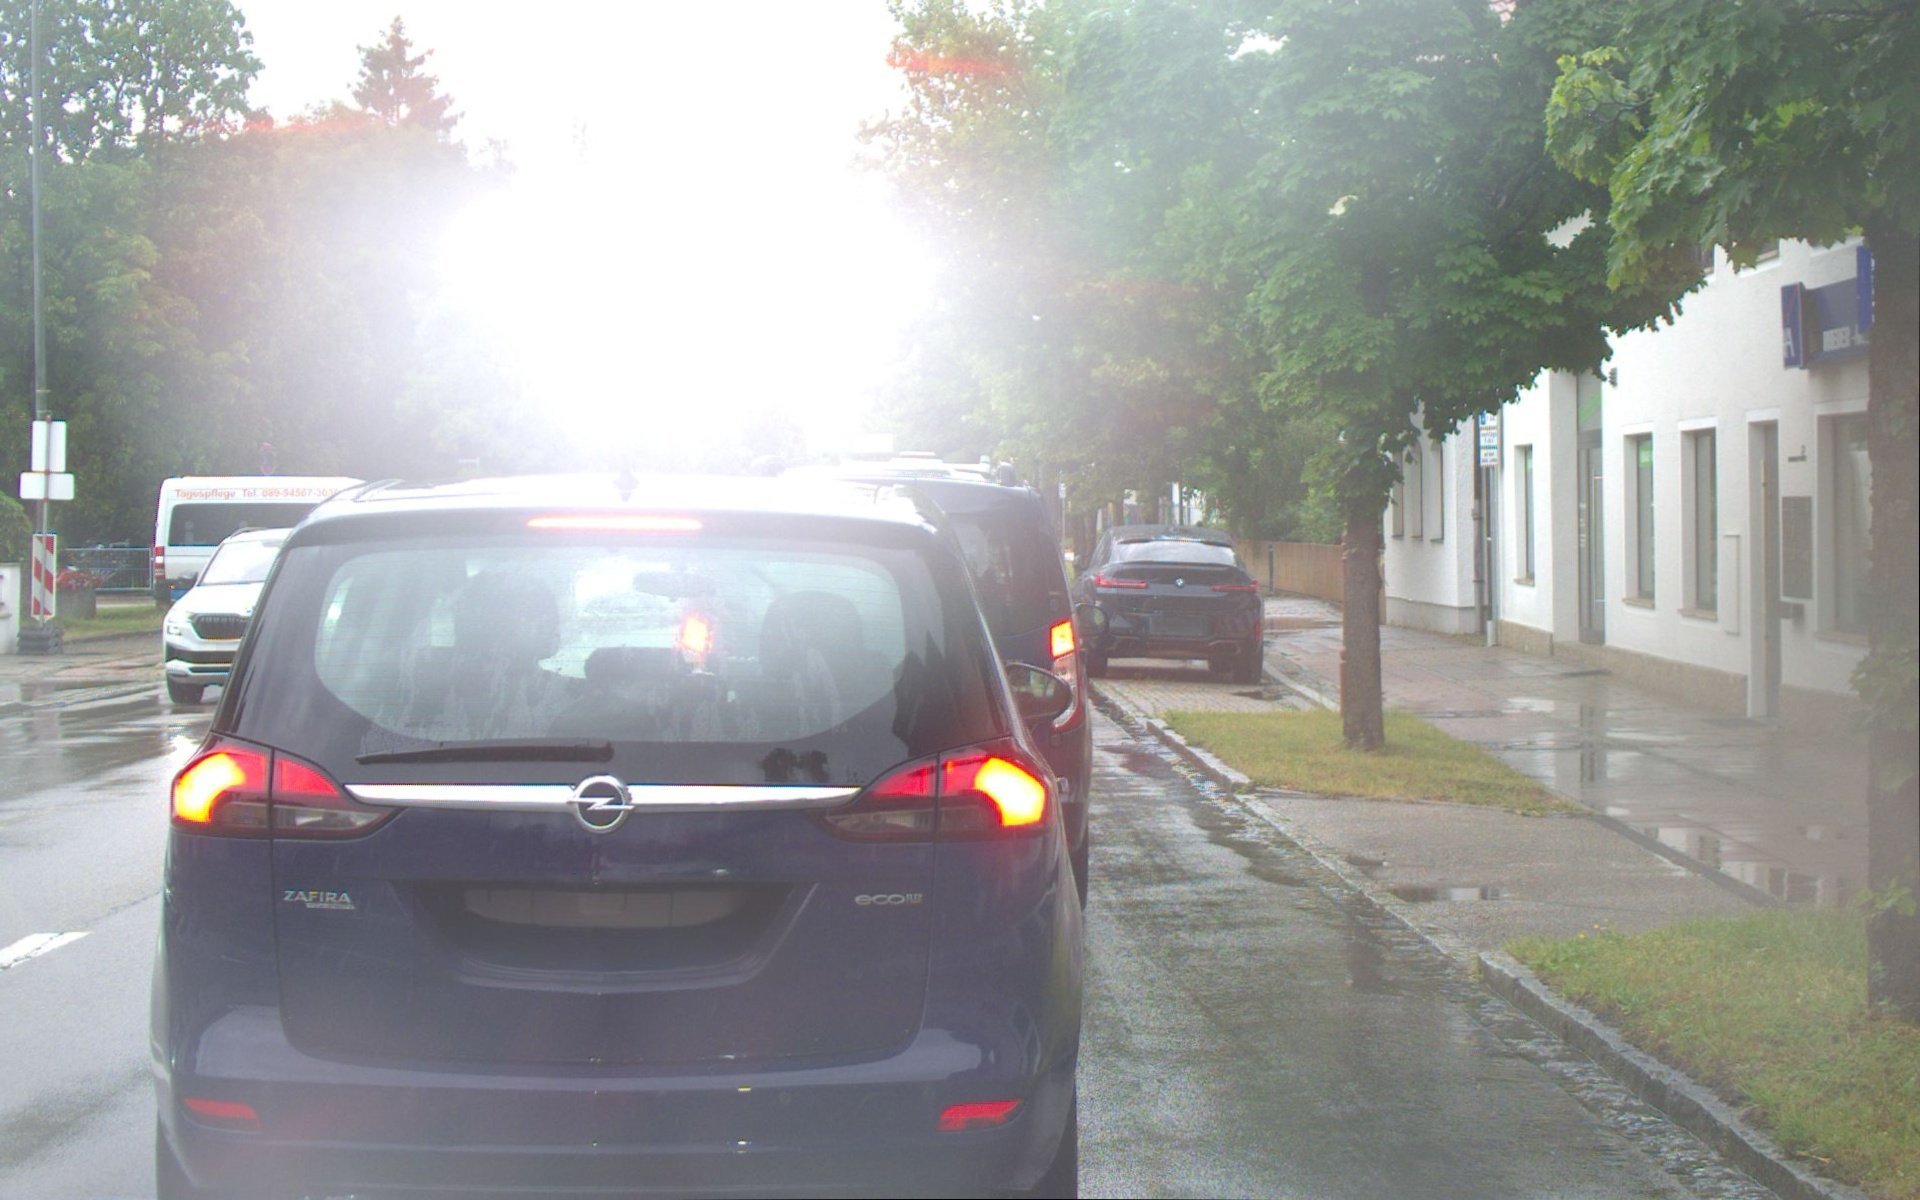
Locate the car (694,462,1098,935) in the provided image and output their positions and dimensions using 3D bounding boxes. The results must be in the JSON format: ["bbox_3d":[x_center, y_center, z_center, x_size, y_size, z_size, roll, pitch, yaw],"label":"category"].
[{"bbox_3d":[-0.262,0.342,14.566,1.500,1.770,3.112,1,1,-1],"label":"car"}]

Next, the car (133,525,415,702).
[{"bbox_3d":[-6.479,0.078,32.887,1.926,1.561,4.126,-1,1,-1],"label":"car"}]

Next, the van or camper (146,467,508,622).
[{"bbox_3d":[-11.409,-1.015,62.328,6.247,2.698,2.101,-1,1,-5],"label":"van or camper"}]

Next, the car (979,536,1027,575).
[{"bbox_3d":[1.549,-1.616,125.775,1.630,1.373,3.623,1,1,-1],"label":"car"}]

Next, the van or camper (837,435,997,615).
[{"bbox_3d":[-0.675,-1.180,53.904,2.360,2.656,5.372,-1,1,-1],"label":"van or camper"}]

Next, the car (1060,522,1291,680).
[{"bbox_3d":[2.257,-0.018,37.012,2.117,1.575,3.936,1,1,-1],"label":"car"}]

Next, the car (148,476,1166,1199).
[{"bbox_3d":[-0.554,0.552,7.836,1.768,1.599,3.663,0,1,-1],"label":"car"}]

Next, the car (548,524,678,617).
[{"bbox_3d":[-5.973,-0.535,59.509,1.752,1.506,4.230,-2,1,0],"label":"car"}]

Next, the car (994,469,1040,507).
[{"bbox_3d":[2.234,-4.393,135.248,1.630,1.373,3.623,-1,1,-1],"label":"car"}]
